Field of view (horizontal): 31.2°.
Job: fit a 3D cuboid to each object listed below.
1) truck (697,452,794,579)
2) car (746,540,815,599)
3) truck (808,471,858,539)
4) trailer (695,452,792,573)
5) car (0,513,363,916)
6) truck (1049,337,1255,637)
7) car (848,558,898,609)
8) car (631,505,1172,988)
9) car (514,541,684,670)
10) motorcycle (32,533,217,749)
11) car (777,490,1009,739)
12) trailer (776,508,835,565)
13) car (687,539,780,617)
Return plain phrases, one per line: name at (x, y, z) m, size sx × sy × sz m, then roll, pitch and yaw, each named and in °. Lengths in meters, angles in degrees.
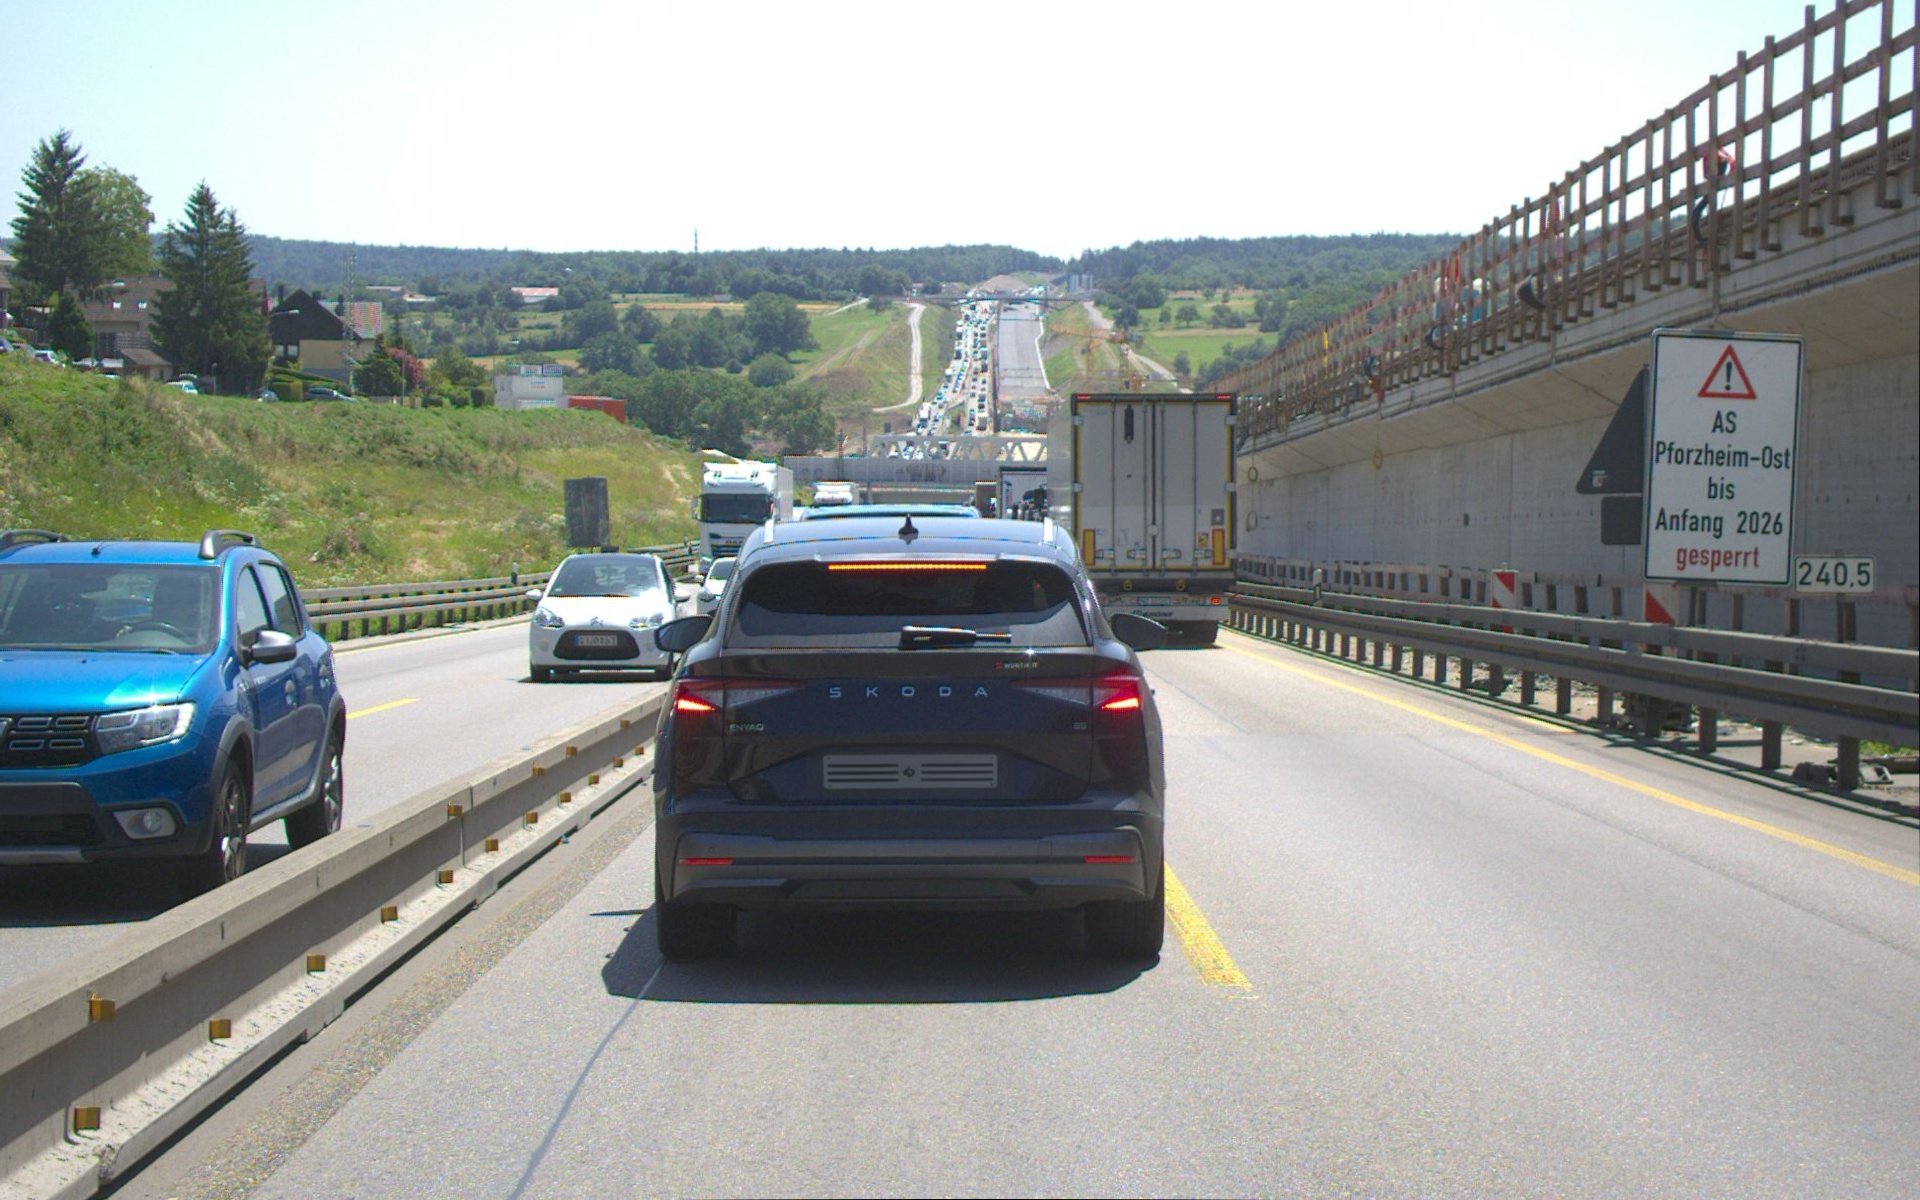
truck at (-7.443, -2.851, 118.480) m, size 3.180 × 4.223 × 6.486 m, roll 0°, pitch 0°, yaw -5°
car at (-4.802, -0.831, 92.247) m, size 1.700 × 1.555 × 4.104 m, roll 0°, pitch 1°, yaw -1°
truck at (-8.103, -6.053, 219.865) m, size 2.753 × 4.212 × 8.100 m, roll 2°, pitch 1°, yaw 0°
trailer at (-7.940, -3.124, 124.726) m, size 3.220 × 4.144 × 13.410 m, roll 0°, pitch 1°, yaw -5°
car at (-3.918, 0.423, 15.649) m, size 1.763 × 1.604 × 3.892 m, roll 0°, pitch 1°, yaw -1°
truck at (3.136, -1.762, 59.221) m, size 2.846 × 4.599 × 11.811 m, roll 1°, pitch 0°, yaw 0°
car at (-3.205, -0.635, 127.217) m, size 1.775 × 1.814 × 4.434 m, roll 0°, pitch 1°, yaw 0°
car at (-0.236, 0.464, 13.243) m, size 1.782 × 1.592 × 3.755 m, roll 0°, pitch 1°, yaw -1°
car at (-4.335, 0.031, 41.715) m, size 1.766 × 1.481 × 3.866 m, roll 0°, pitch 1°, yaw -2°
motorcycle at (-6.408, 0.275, 26.505) m, size 0.790 × 1.546 × 2.621 m, roll 1°, pitch 2°, yaw 0°
car at (-0.612, 0.094, 29.063) m, size 1.749 × 1.889 × 3.755 m, roll 3°, pitch 1°, yaw -3°
trailer at (-7.463, -3.044, 166.587) m, size 2.485 × 2.604 × 5.867 m, roll -1°, pitch 0°, yaw 1°
car at (-4.408, -0.446, 67.354) m, size 1.691 × 1.481 × 3.750 m, roll 0°, pitch 1°, yaw -2°
